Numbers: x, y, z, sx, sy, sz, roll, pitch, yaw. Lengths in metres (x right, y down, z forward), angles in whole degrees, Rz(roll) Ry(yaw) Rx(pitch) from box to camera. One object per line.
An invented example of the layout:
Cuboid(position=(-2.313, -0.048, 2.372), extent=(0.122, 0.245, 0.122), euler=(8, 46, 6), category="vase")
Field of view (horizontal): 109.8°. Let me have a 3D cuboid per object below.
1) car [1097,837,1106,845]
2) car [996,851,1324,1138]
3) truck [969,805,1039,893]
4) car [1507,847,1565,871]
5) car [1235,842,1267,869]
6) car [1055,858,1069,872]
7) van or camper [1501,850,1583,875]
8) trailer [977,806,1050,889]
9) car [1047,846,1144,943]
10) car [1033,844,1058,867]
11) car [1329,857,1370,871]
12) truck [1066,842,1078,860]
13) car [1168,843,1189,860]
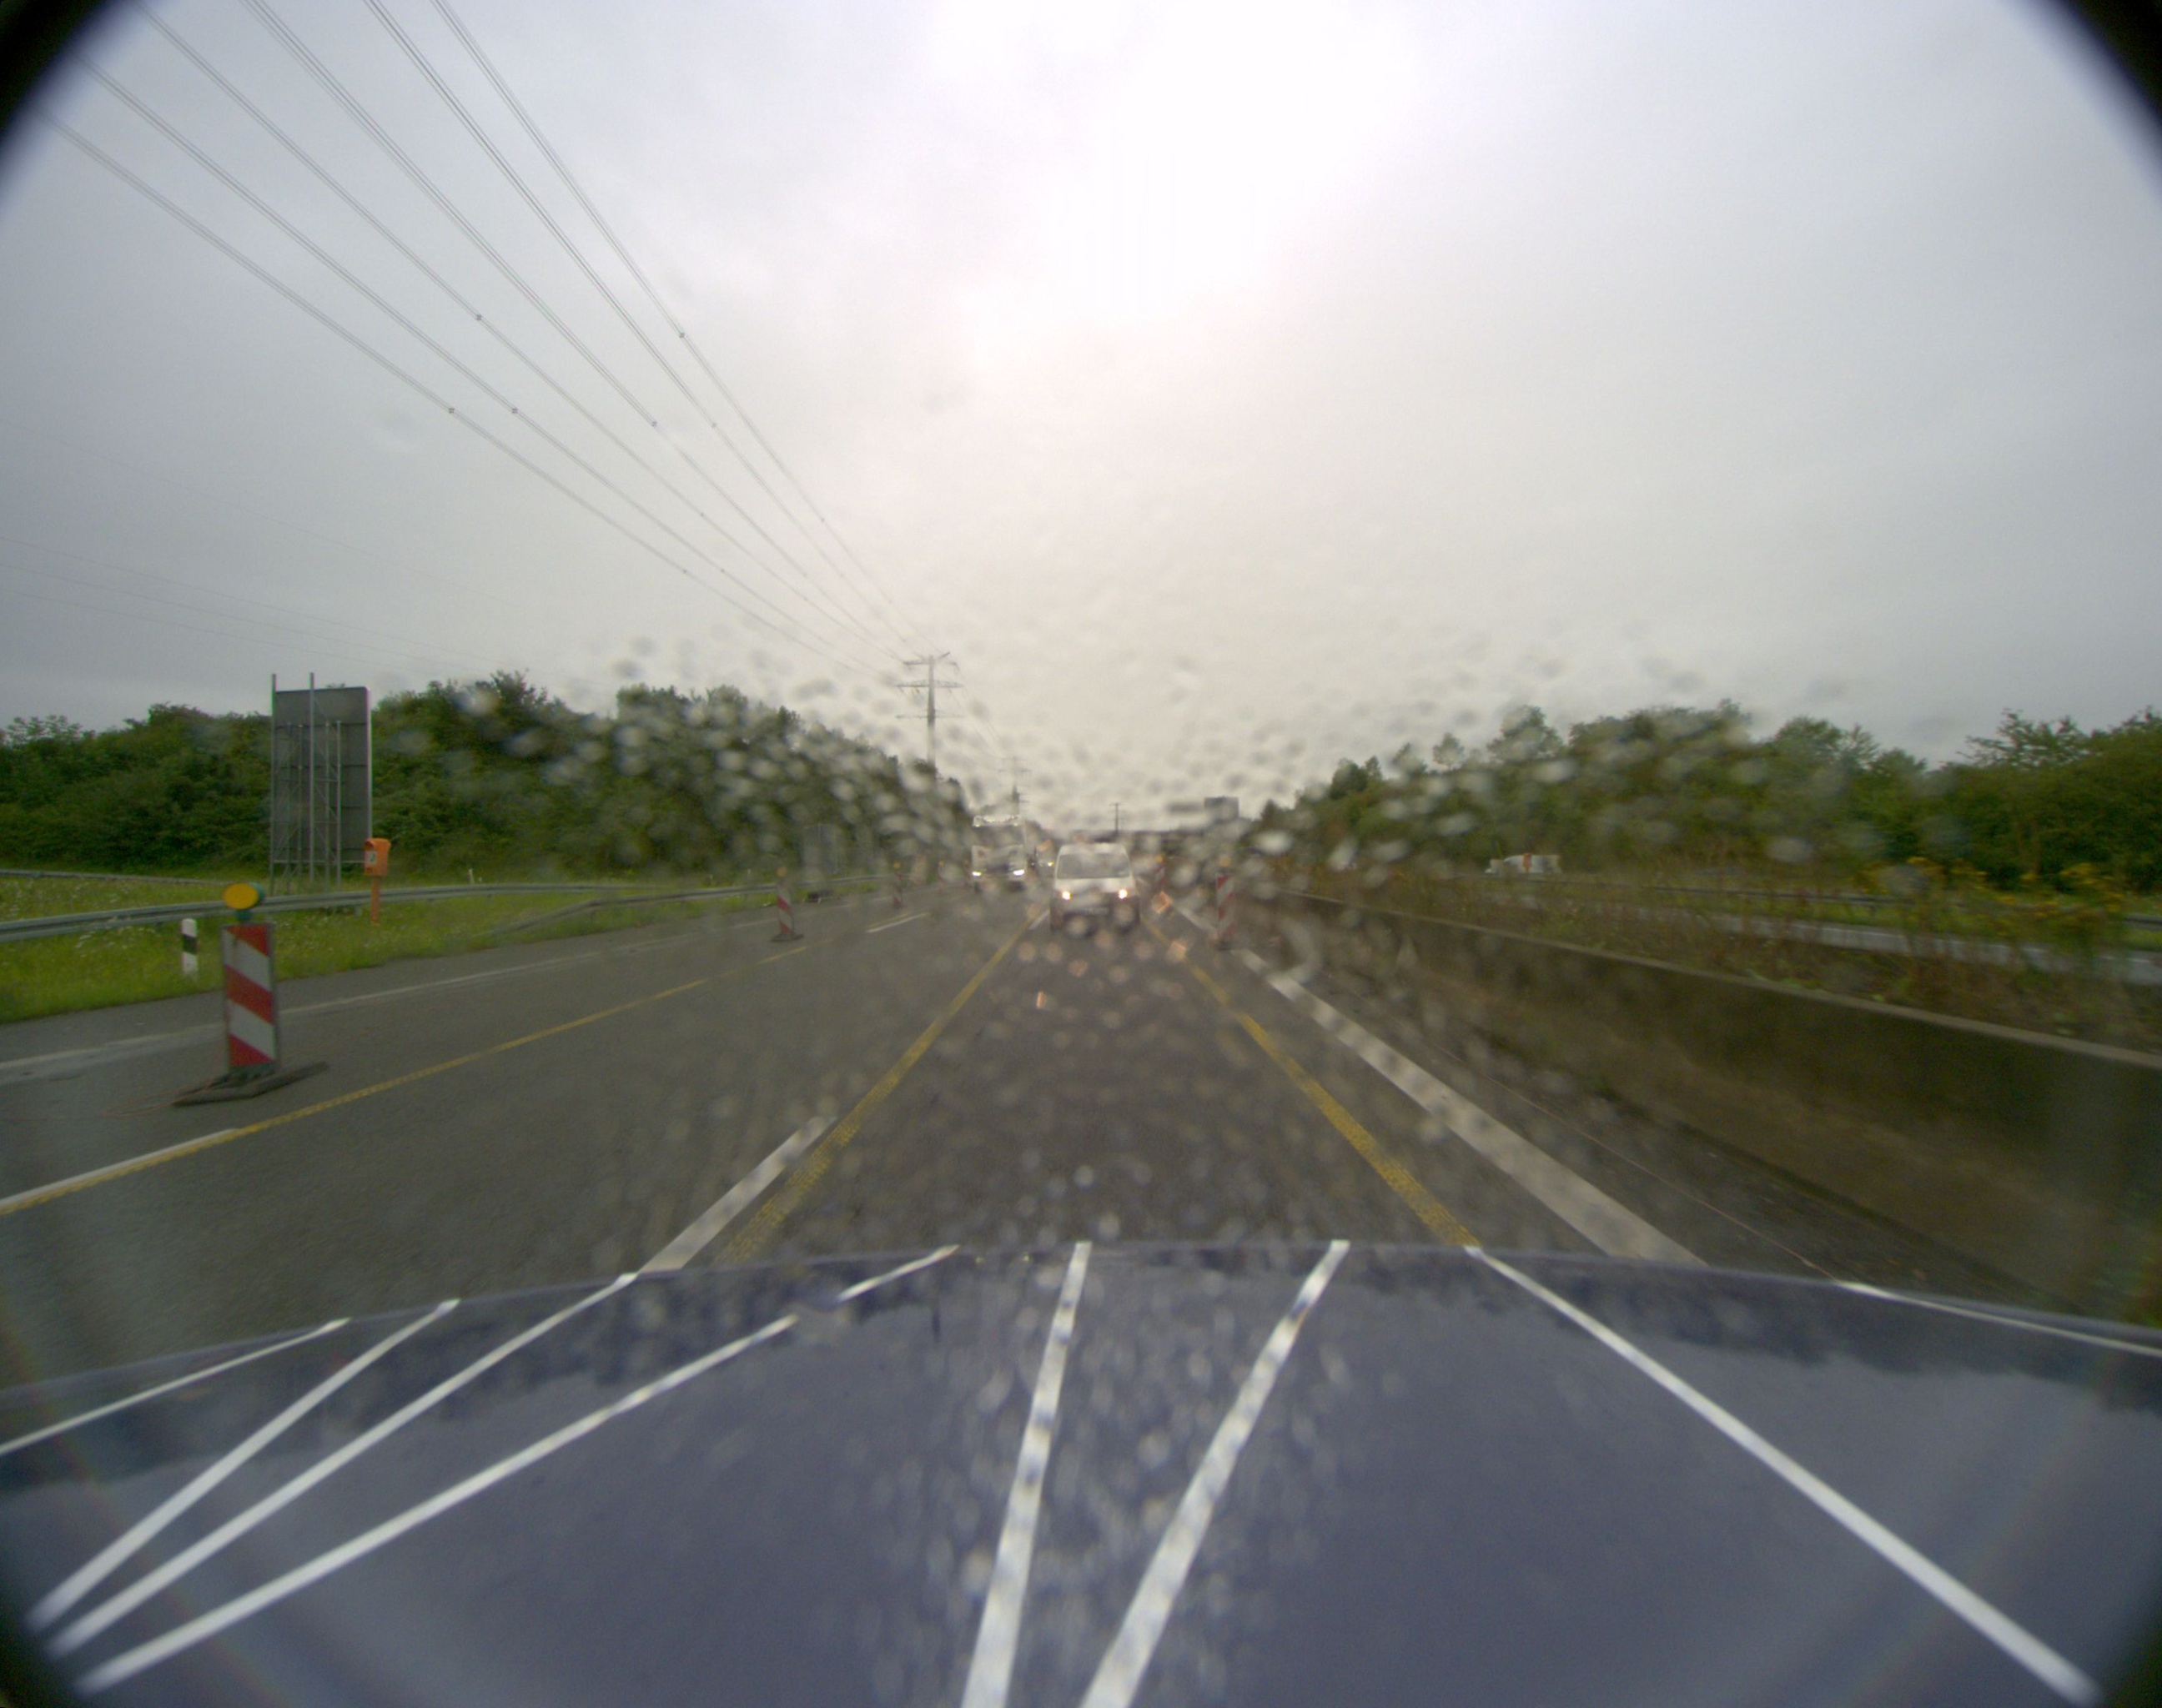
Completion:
Cuboid(position=(5.141, -3.274, 189.883), extent=(1.998, 2.002, 3.999), euler=(-2, 1, 1), category="car")
Cuboid(position=(0.512, 0.859, 6.647), extent=(1.998, 1.750, 4.000), euler=(0, 0, 1), category="car")
Cuboid(position=(-3.653, -0.270, 37.264), extent=(2.748, 3.912, 5.396), euler=(-2, 1, 0), category="truck")
Cuboid(position=(39.180, 0.437, 65.500), extent=(3.988, 2.002, 2.004), euler=(1, 0, 42), category="car")
Cuboid(position=(17.378, 0.150, 77.927), extent=(2.055, 2.594, 5.846), euler=(-2, 1, 2), category="car")
Cuboid(position=(-2.985, 1.785, 122.157), extent=(1.998, 2.002, 3.999), euler=(-2, 1, 1), category="car")
Cuboid(position=(39.920, 0.705, 65.919), extent=(5.829, 2.002, 2.004), euler=(1, 1, 40), category="van or camper")
Cuboid(position=(-3.572, -0.417, 44.208), extent=(2.808, 3.980, 14.147), euler=(-2, 1, 0), category="trailer")
Cuboid(position=(0.233, 0.764, 16.652), extent=(1.770, 1.774, 4.647), euler=(-2, 0, -1), category="car")
Cuboid(position=(-3.228, 0.122, 70.443), extent=(1.998, 2.002, 3.999), euler=(-2, 1, 1), category="car")
Cuboid(position=(28.293, 1.002, 80.111), extent=(1.922, 1.395, 3.992), euler=(0, 0, -22), category="car")
Cuboid(position=(-1.950, -0.652, 162.232), extent=(2.276, 3.682, 6.655), euler=(-2, 1, 1), category="truck")
Cuboid(position=(11.799, -0.343, 92.081), extent=(1.998, 1.947, 4.671), euler=(-2, 1, 0), category="car")
